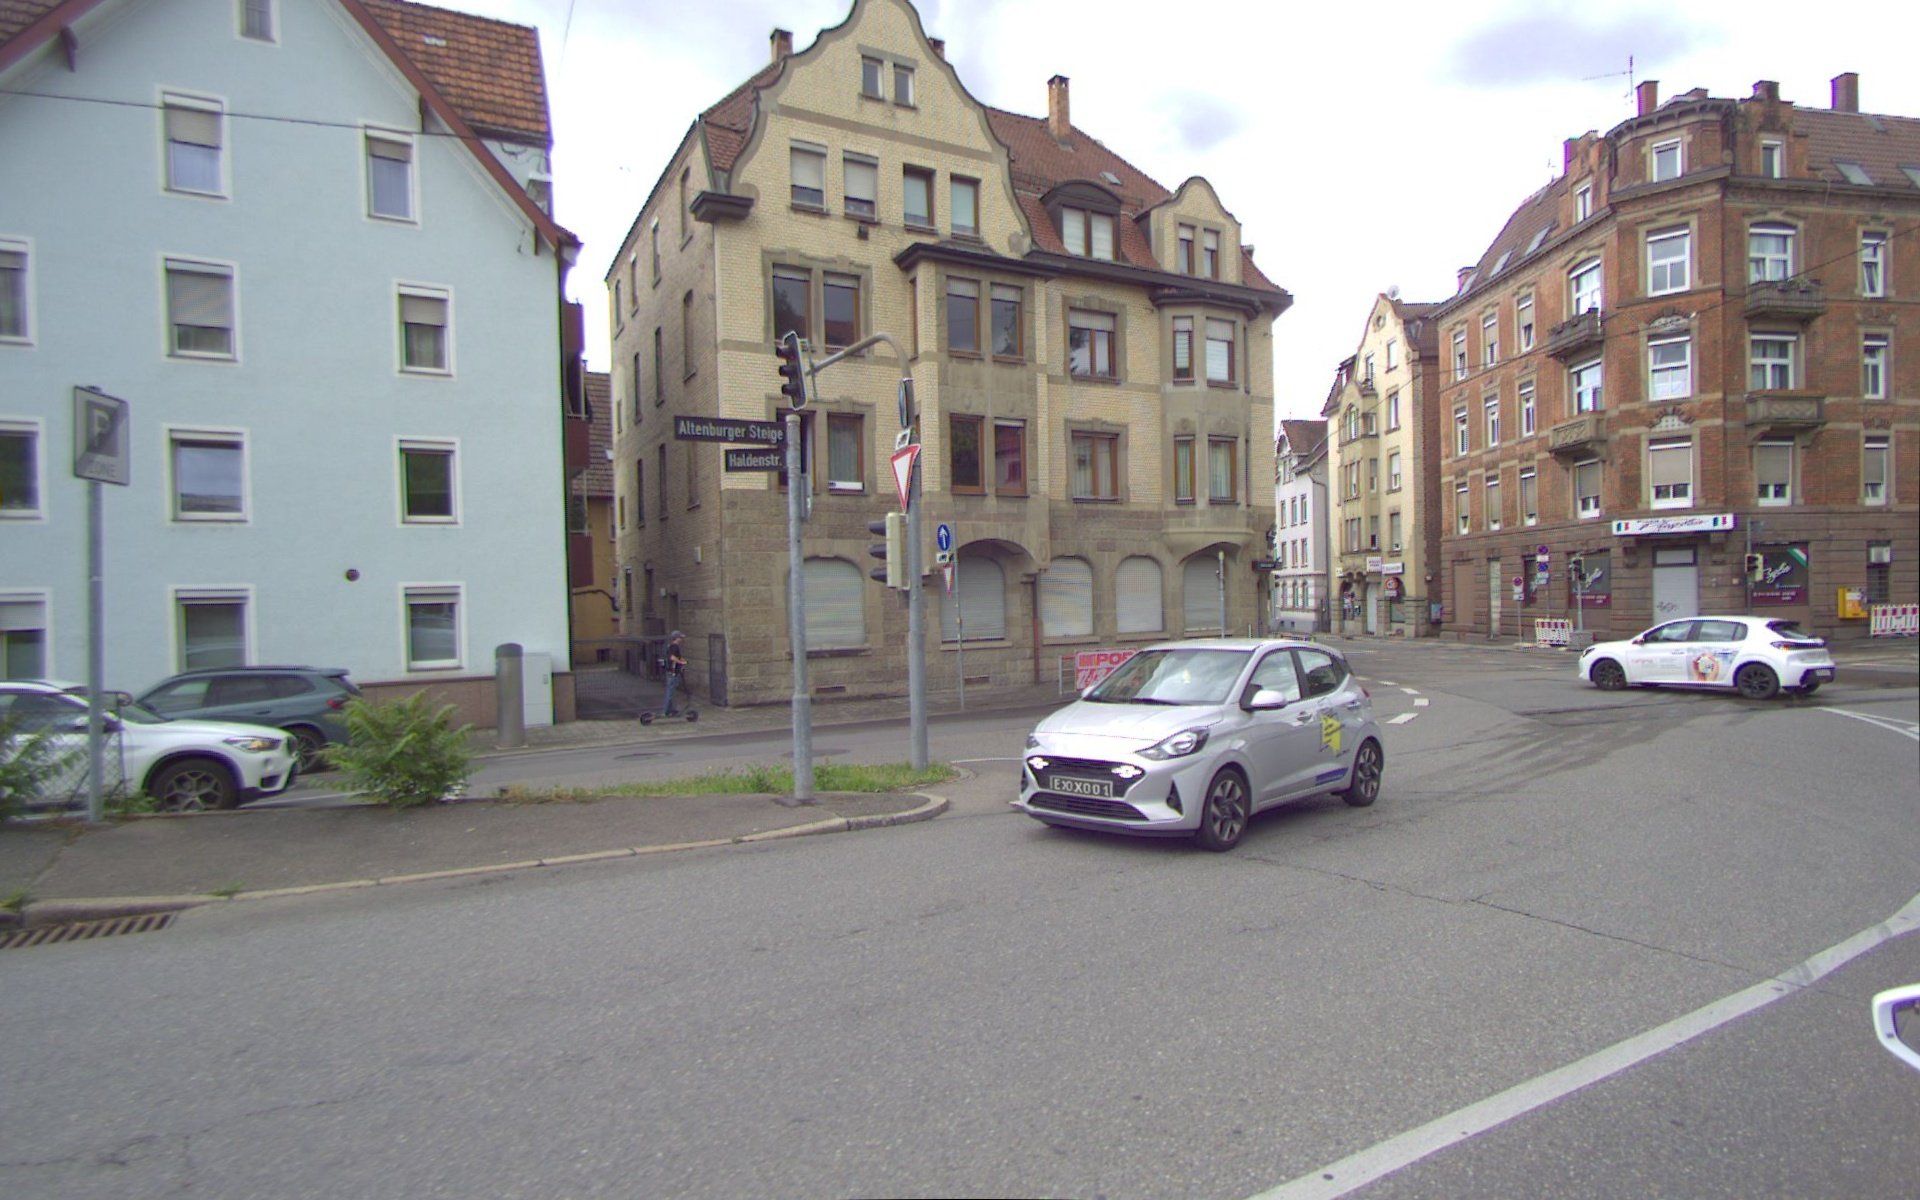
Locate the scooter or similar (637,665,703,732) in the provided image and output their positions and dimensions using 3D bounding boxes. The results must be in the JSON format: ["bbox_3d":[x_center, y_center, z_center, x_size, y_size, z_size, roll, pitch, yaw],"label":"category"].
[{"bbox_3d":[-5.877,1.976,20.355,1.212,1.258,0.376,-1,0,-30],"label":"scooter or similar"}]

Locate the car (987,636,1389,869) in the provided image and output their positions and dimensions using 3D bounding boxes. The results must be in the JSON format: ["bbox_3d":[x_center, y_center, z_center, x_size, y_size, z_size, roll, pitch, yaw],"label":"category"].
[{"bbox_3d":[2.050,1.054,8.384,1.652,1.487,3.621,-1,-2,44],"label":"car"}]

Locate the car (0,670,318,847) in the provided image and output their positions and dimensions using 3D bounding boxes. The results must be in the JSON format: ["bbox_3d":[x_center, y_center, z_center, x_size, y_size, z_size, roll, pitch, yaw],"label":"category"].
[{"bbox_3d":[-9.388,1.595,10.513,4.370,1.534,1.819,1,-1,-30],"label":"car"}]

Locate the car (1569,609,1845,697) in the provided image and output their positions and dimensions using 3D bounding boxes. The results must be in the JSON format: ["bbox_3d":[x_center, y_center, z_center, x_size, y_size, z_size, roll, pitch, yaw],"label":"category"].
[{"bbox_3d":[14.016,0.951,19.106,1.664,1.485,3.894,1,-2,-25],"label":"car"}]

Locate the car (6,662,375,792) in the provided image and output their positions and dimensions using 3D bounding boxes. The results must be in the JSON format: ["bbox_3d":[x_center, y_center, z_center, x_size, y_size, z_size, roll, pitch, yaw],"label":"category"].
[{"bbox_3d":[-11.266,1.800,15.140,4.184,1.576,1.674,1,-1,-30],"label":"car"}]

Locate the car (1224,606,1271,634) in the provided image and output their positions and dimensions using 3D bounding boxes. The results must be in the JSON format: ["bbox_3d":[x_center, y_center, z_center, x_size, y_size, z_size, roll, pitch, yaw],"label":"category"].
[{"bbox_3d":[21.260,1.475,74.501,2.093,2.031,4.926,0,-1,-1],"label":"car"}]

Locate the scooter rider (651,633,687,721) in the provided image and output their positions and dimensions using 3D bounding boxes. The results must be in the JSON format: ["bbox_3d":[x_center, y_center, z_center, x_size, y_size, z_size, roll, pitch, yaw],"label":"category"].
[{"bbox_3d":[-5.903,1.551,20.346,0.570,1.728,0.485,-1,0,-30],"label":"scooter rider"}]
